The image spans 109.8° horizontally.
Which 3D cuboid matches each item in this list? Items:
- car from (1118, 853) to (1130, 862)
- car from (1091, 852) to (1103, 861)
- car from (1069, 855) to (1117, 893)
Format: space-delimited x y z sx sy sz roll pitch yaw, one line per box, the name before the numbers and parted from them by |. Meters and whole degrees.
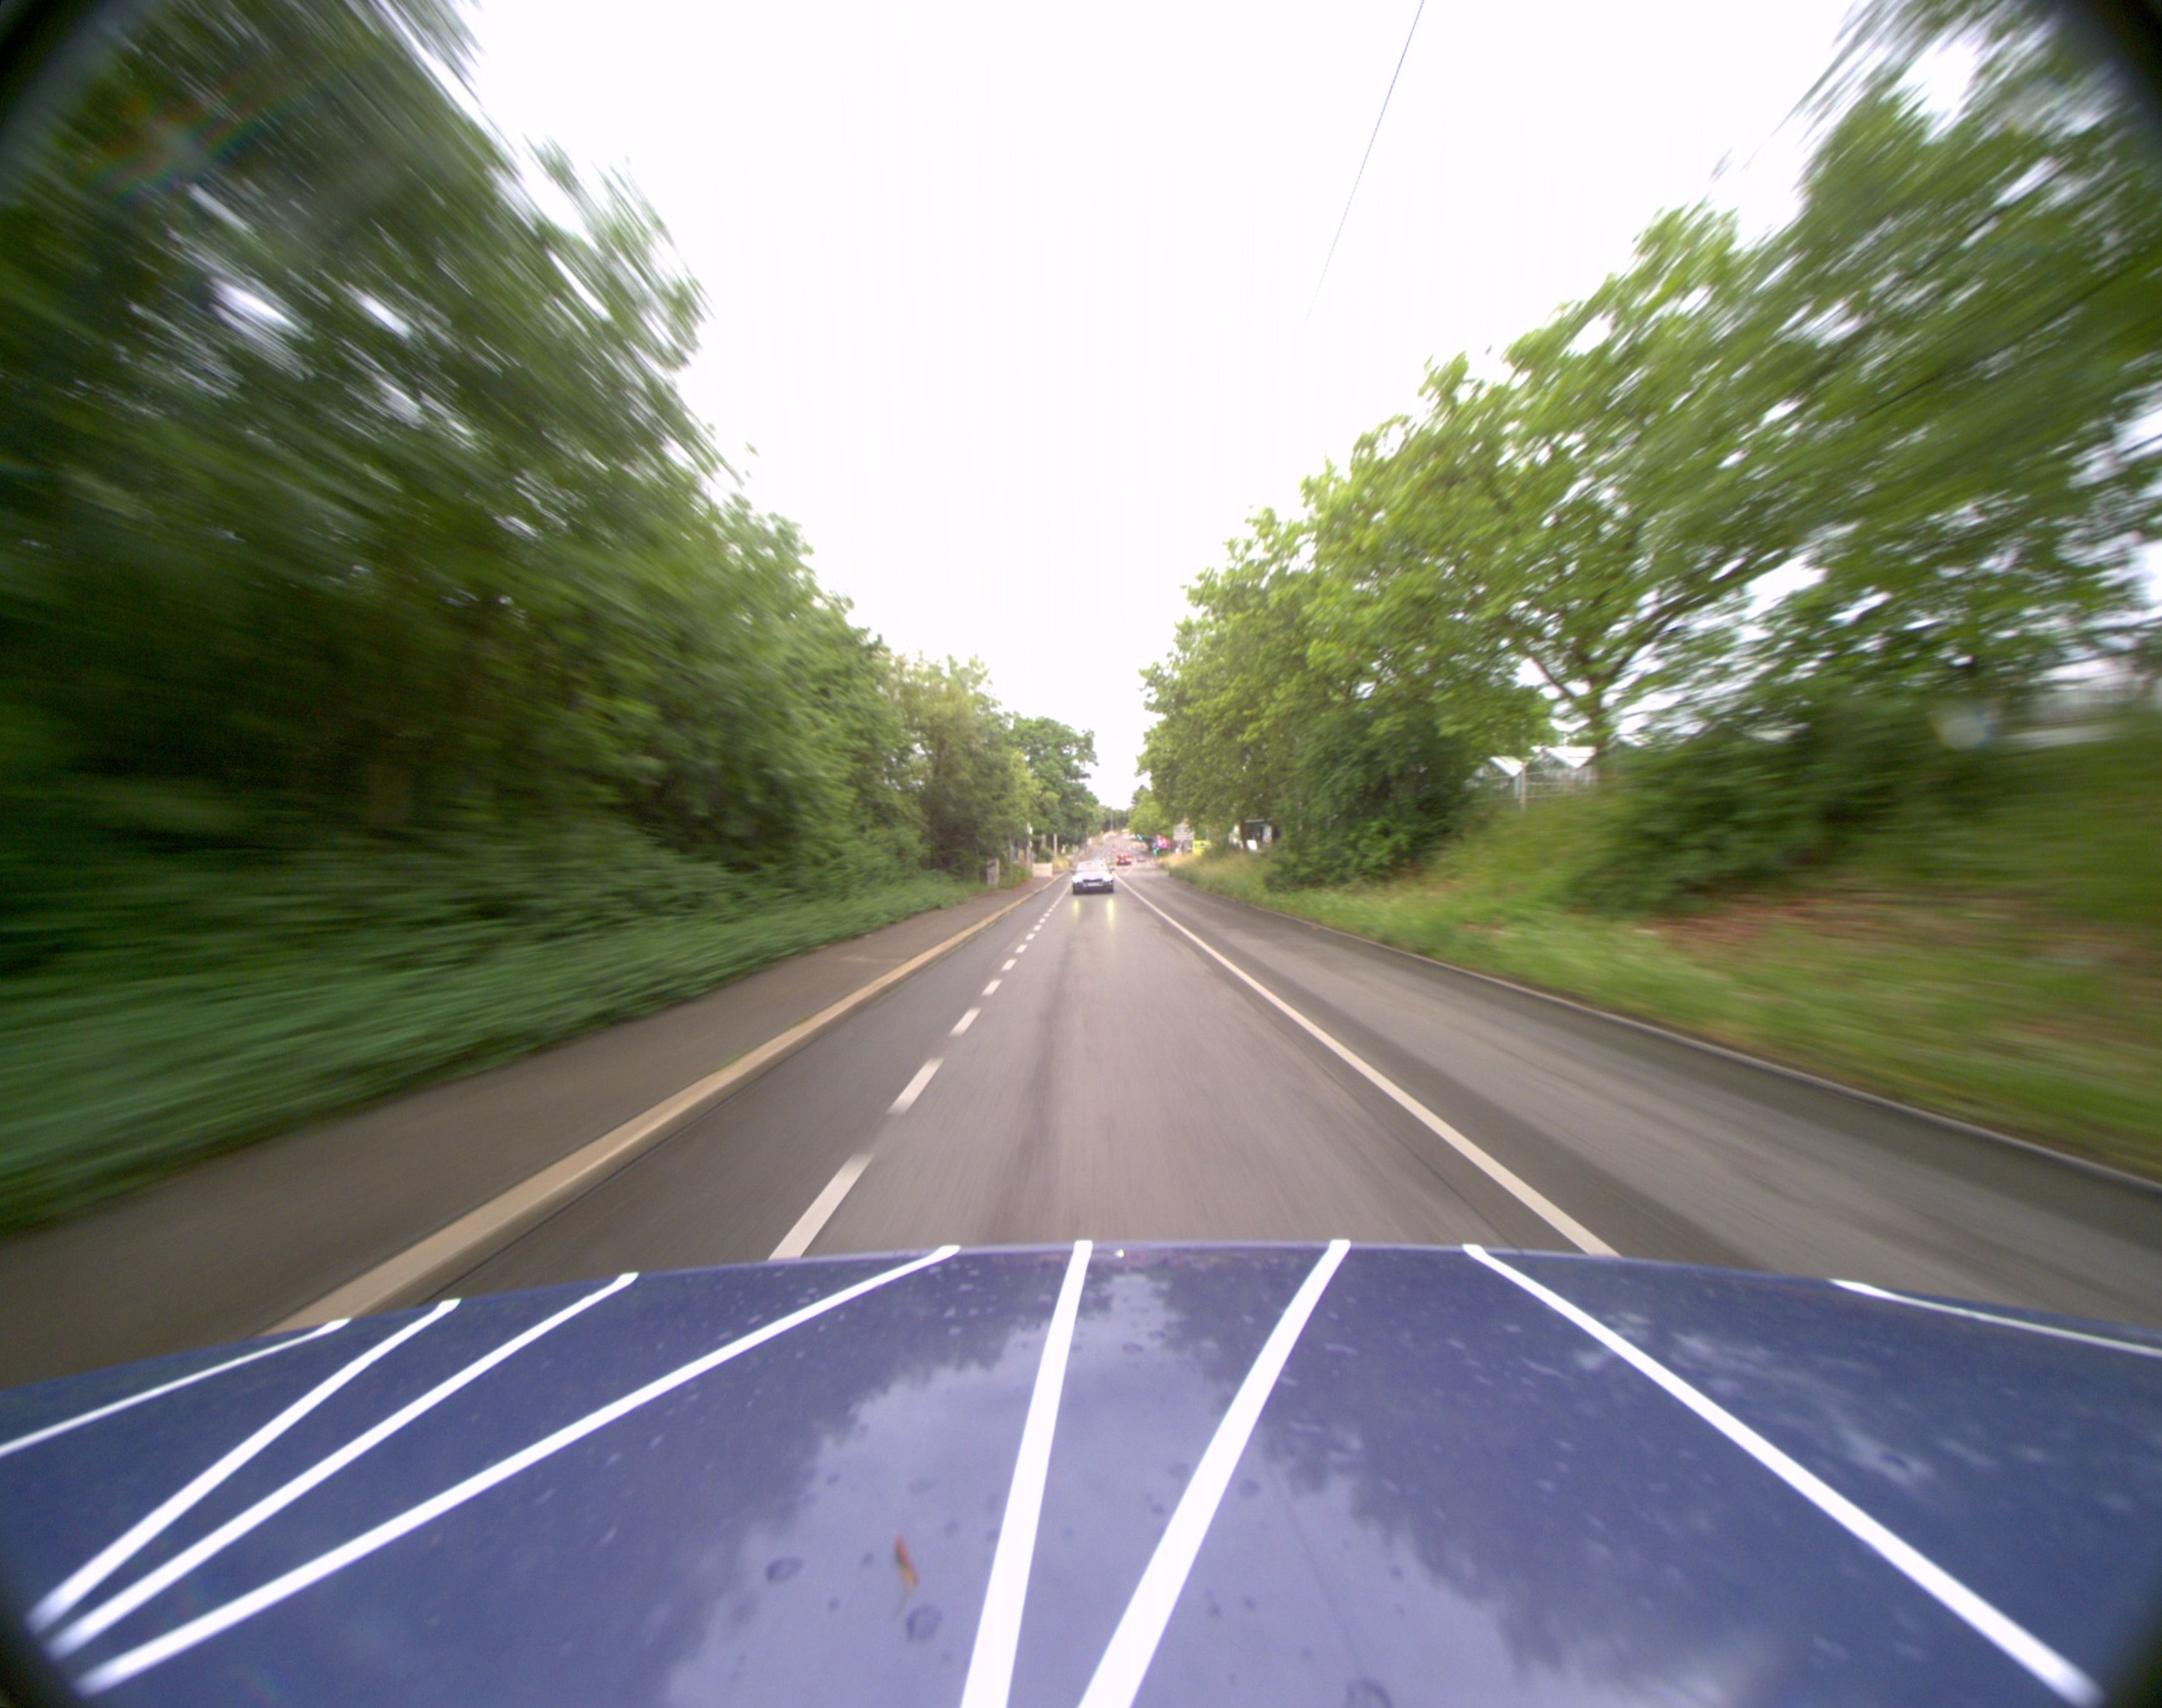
car | 7.414 0.575 131.190 1.981 1.497 4.000 -2 1 0
car | 2.861 0.489 136.869 1.981 1.497 4.000 -2 1 0
car | 0.527 0.831 33.855 1.981 1.497 4.000 -2 1 0
